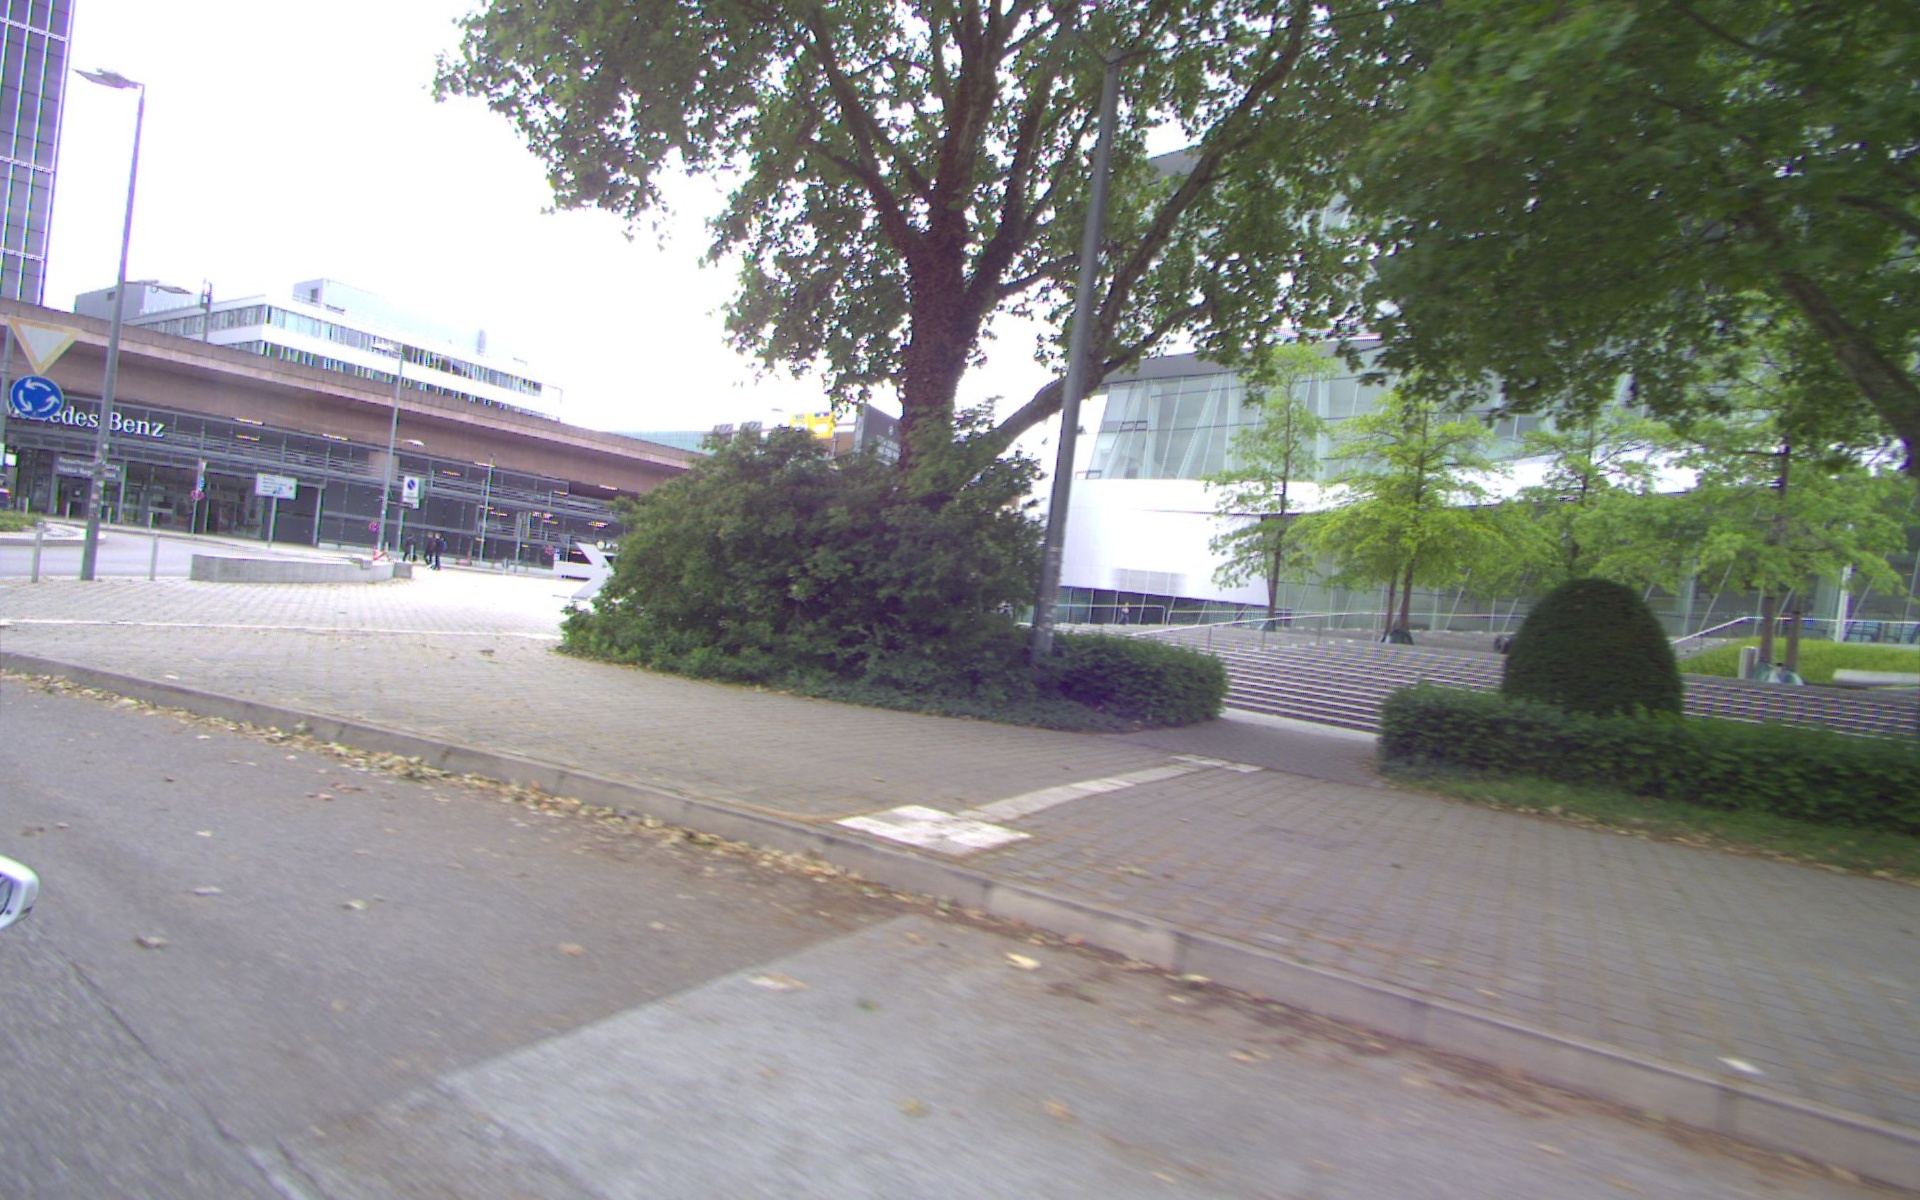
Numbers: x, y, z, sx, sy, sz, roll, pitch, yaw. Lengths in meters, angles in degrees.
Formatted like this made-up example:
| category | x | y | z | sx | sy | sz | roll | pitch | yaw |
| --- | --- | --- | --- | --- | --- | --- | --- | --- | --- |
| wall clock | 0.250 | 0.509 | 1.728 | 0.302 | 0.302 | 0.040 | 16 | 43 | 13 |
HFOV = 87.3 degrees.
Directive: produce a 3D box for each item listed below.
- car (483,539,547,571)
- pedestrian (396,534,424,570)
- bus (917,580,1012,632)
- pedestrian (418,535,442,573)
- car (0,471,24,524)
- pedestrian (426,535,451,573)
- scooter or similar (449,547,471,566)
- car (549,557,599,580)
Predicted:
| category | x | y | z | sx | sy | sz | roll | pitch | yaw |
| --- | --- | --- | --- | --- | --- | --- | --- | --- | --- |
| car | -34.524 | -3.478 | 78.079 | 3.976 | 1.927 | 1.975 | 8 | 0 | -44 |
| pedestrian | -26.155 | -2.293 | 47.821 | 0.679 | 1.589 | 0.831 | 7 | 0 | 36 |
| bus | 0.631 | 0.690 | 100.736 | 2.719 | 3.981 | 11.038 | 6 | -1 | 41 |
| pedestrian | -25.778 | -2.235 | 48.922 | 0.825 | 1.761 | 0.684 | 7 | 0 | -33 |
| car | -40.883 | -4.464 | 40.191 | 4.694 | 2.038 | 2.284 | 7 | -1 | 2 |
| pedestrian | -25.818 | -2.285 | 49.836 | 0.826 | 1.761 | 0.683 | 7 | 0 | -37 |
| scooter or similar | -36.088 | -3.132 | 72.638 | 0.351 | 1.209 | 1.227 | 7 | -1 | 45 |
| car | -36.921 | -3.024 | 96.238 | 3.976 | 1.593 | 1.975 | 8 | -1 | -44 |
